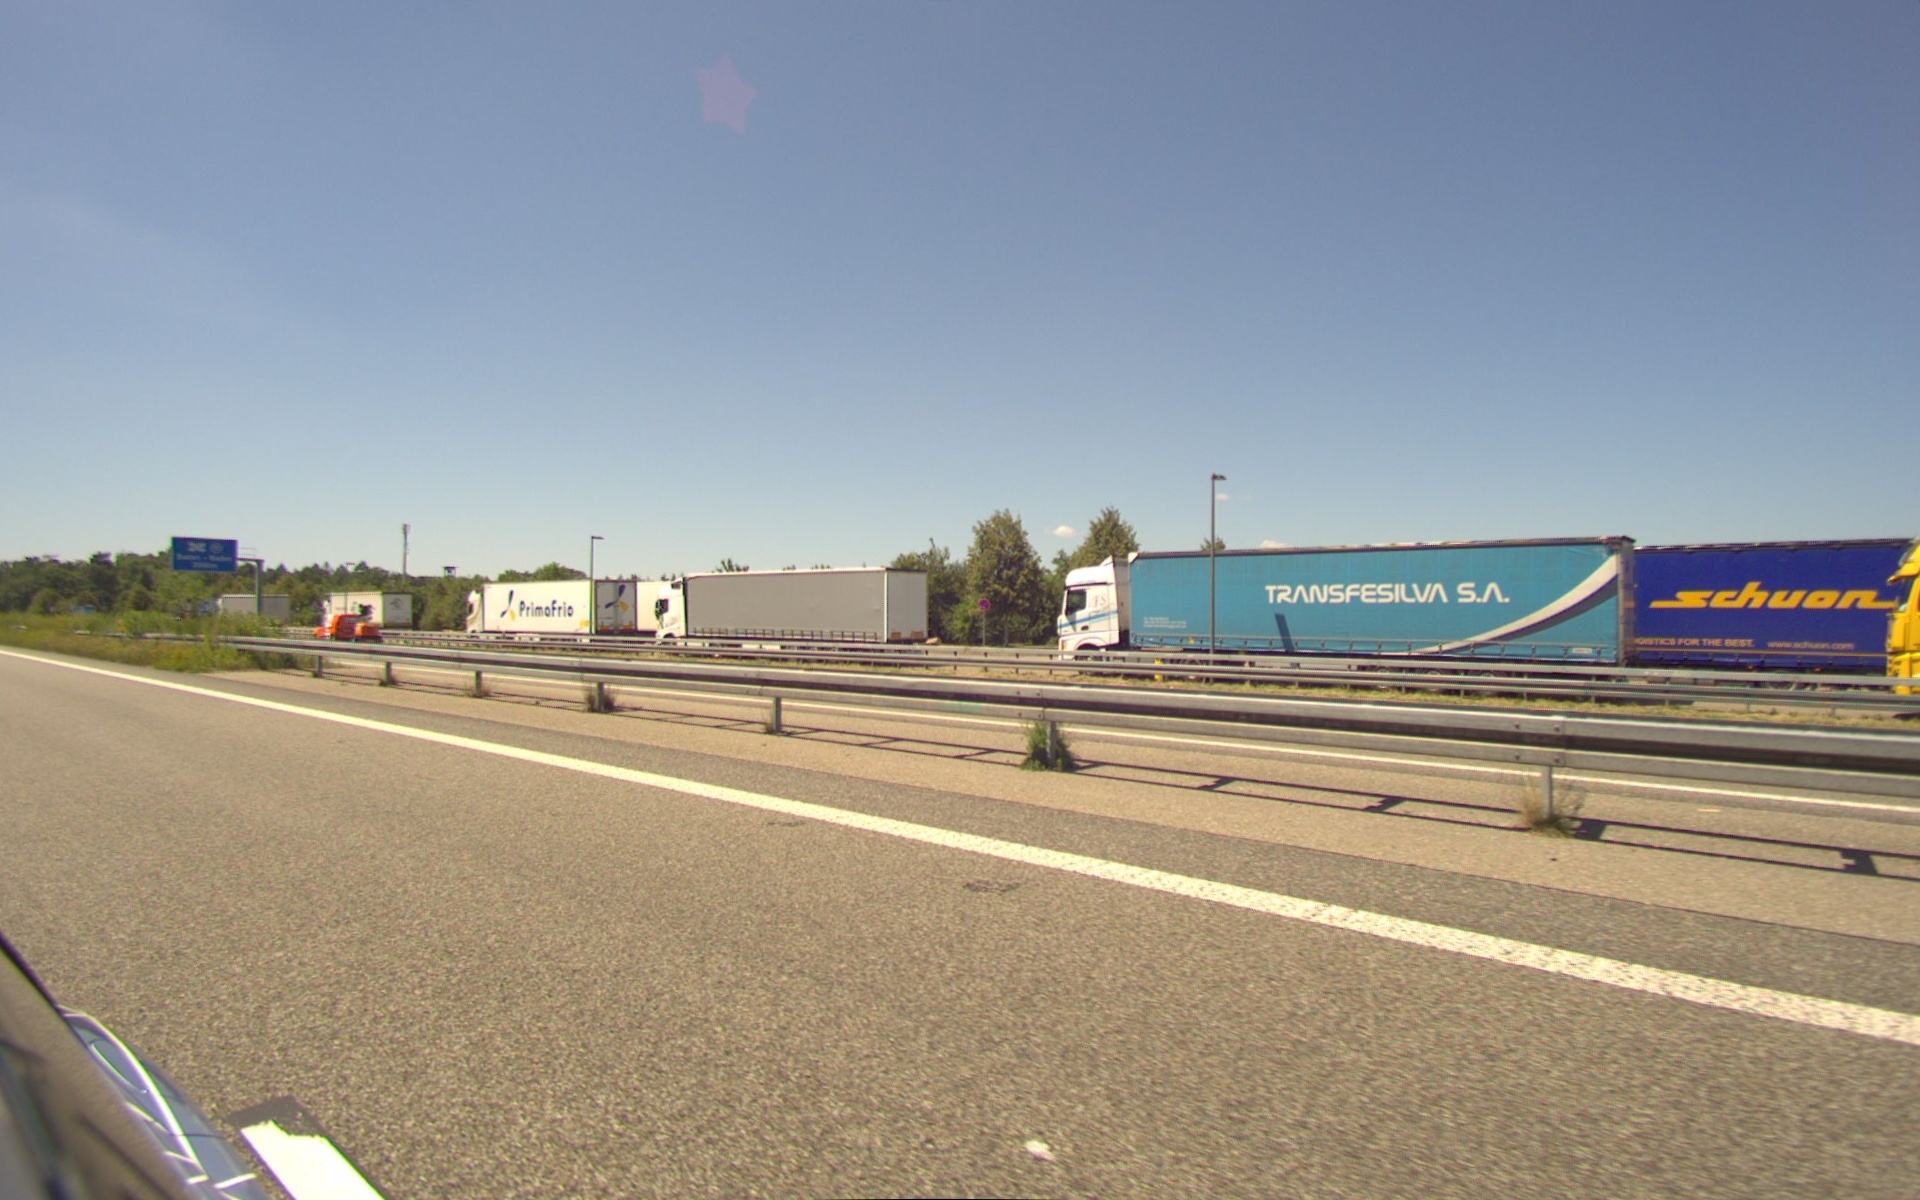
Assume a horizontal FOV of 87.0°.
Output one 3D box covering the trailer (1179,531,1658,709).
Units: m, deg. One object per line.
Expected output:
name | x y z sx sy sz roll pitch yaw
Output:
trailer | 12.353 0.522 28.764 12.075 4.180 2.805 -1 0 40

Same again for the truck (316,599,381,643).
truck | -60.621 2.045 100.247 8.311 4.183 3.063 -1 0 41

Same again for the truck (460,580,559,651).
truck | -28.399 0.974 63.555 7.931 4.220 2.555 -1 -1 41

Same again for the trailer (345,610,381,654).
trailer | -32.879 1.756 55.735 1.997 2.387 1.155 -1 -2 41

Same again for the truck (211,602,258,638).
truck | -78.495 2.141 109.421 6.143 3.671 2.770 -1 0 41

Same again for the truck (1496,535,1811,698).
truck | 19.659 0.437 28.984 7.088 4.104 2.803 -1 0 42

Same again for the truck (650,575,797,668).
truck | -11.647 0.998 49.526 7.498 4.189 3.085 -1 0 40

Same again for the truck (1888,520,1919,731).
truck | 22.984 0.451 19.077 7.913 4.232 2.804 -1 0 40

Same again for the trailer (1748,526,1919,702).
trailer | 25.536 0.285 23.631 11.081 4.180 2.803 -1 0 42

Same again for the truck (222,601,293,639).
truck | -72.429 2.025 104.142 13.598 3.671 2.770 -1 0 41

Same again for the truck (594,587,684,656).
truck | -19.996 1.301 62.901 5.741 4.036 2.668 -1 0 41

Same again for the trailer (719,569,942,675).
trailer | -5.996 0.924 44.813 11.006 4.189 3.082 -1 0 40

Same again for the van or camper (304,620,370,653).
van or camper | -35.869 2.067 58.249 4.744 1.853 1.877 -1 -2 41

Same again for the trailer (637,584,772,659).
trailer | -14.924 1.215 58.515 9.302 4.036 2.668 -1 0 41

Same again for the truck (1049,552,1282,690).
truck | 6.676 0.656 33.580 7.084 4.104 2.821 -1 0 40

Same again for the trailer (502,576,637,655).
trailer | -22.814 0.885 58.716 10.508 4.250 2.572 -1 0 41

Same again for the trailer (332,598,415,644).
trailer | -55.838 1.963 96.109 12.003 4.187 3.062 -1 0 41
